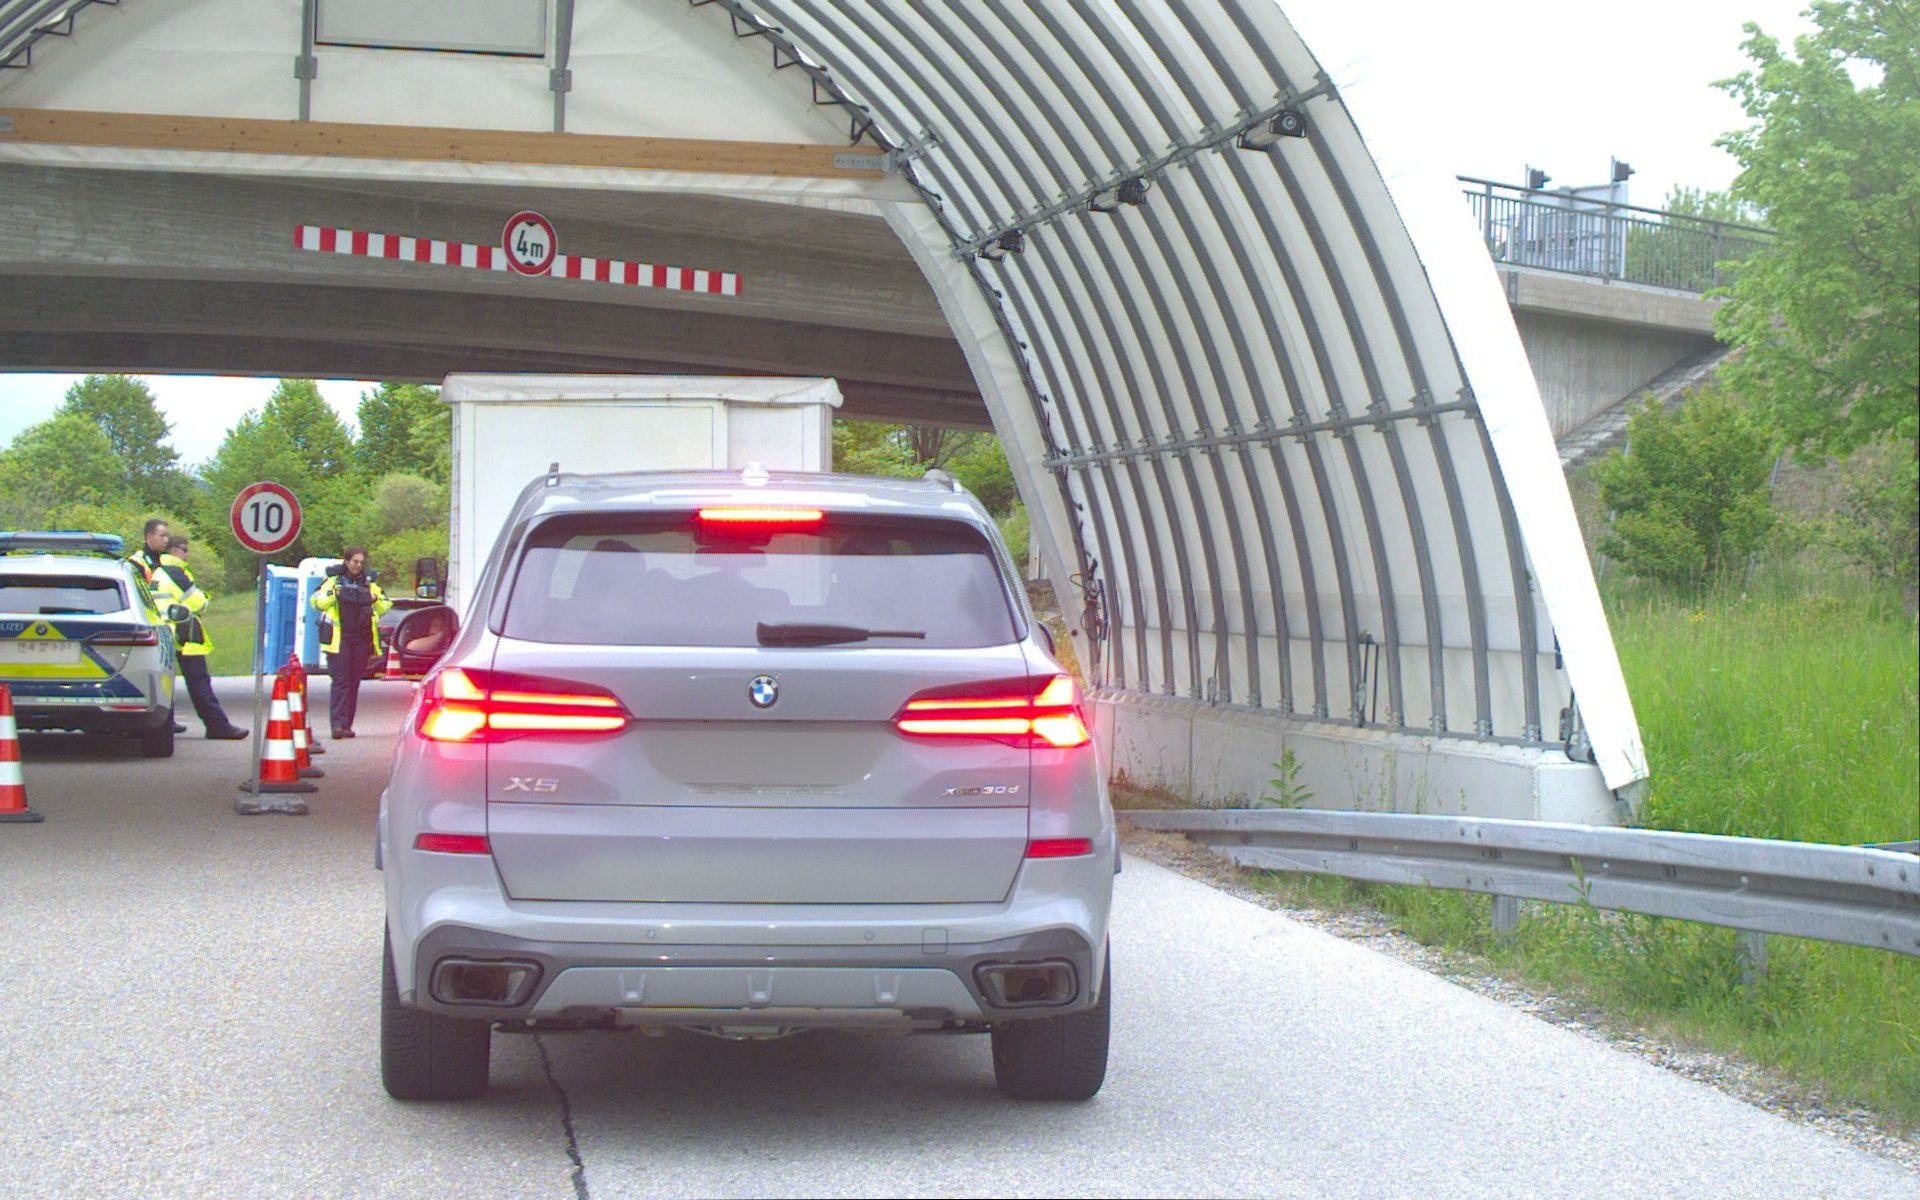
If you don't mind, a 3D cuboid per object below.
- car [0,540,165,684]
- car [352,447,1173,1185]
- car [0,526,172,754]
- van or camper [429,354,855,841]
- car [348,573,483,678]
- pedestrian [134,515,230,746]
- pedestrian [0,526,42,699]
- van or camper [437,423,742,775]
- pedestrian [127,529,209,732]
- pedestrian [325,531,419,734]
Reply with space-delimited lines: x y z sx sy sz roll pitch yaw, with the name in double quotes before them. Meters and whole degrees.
"car" -13.950 0.157 48.919 4.807 2.007 1.840 0 0 7
"car" -0.780 0.495 10.326 1.993 1.759 4.001 0 0 -9
"car" -7.151 0.276 26.735 1.877 1.641 4.001 0 0 -15
"van or camper" -2.166 -0.041 21.388 2.229 2.543 6.612 0 0 -9
"car" -9.319 0.401 58.636 1.993 1.716 3.897 0 0 -13
"pedestrian" -6.548 0.246 28.920 0.749 1.912 0.763 0 0 -15
"pedestrian" -11.177 0.138 40.200 0.701 2.007 0.692 0 0 -1
"van or camper" -3.072 -0.030 27.465 2.103 2.510 5.552 0 0 -9
"pedestrian" -6.914 0.259 30.032 0.609 1.748 0.666 0 0 -6
"pedestrian" -5.067 0.270 29.597 0.779 1.716 0.757 0 0 -11
